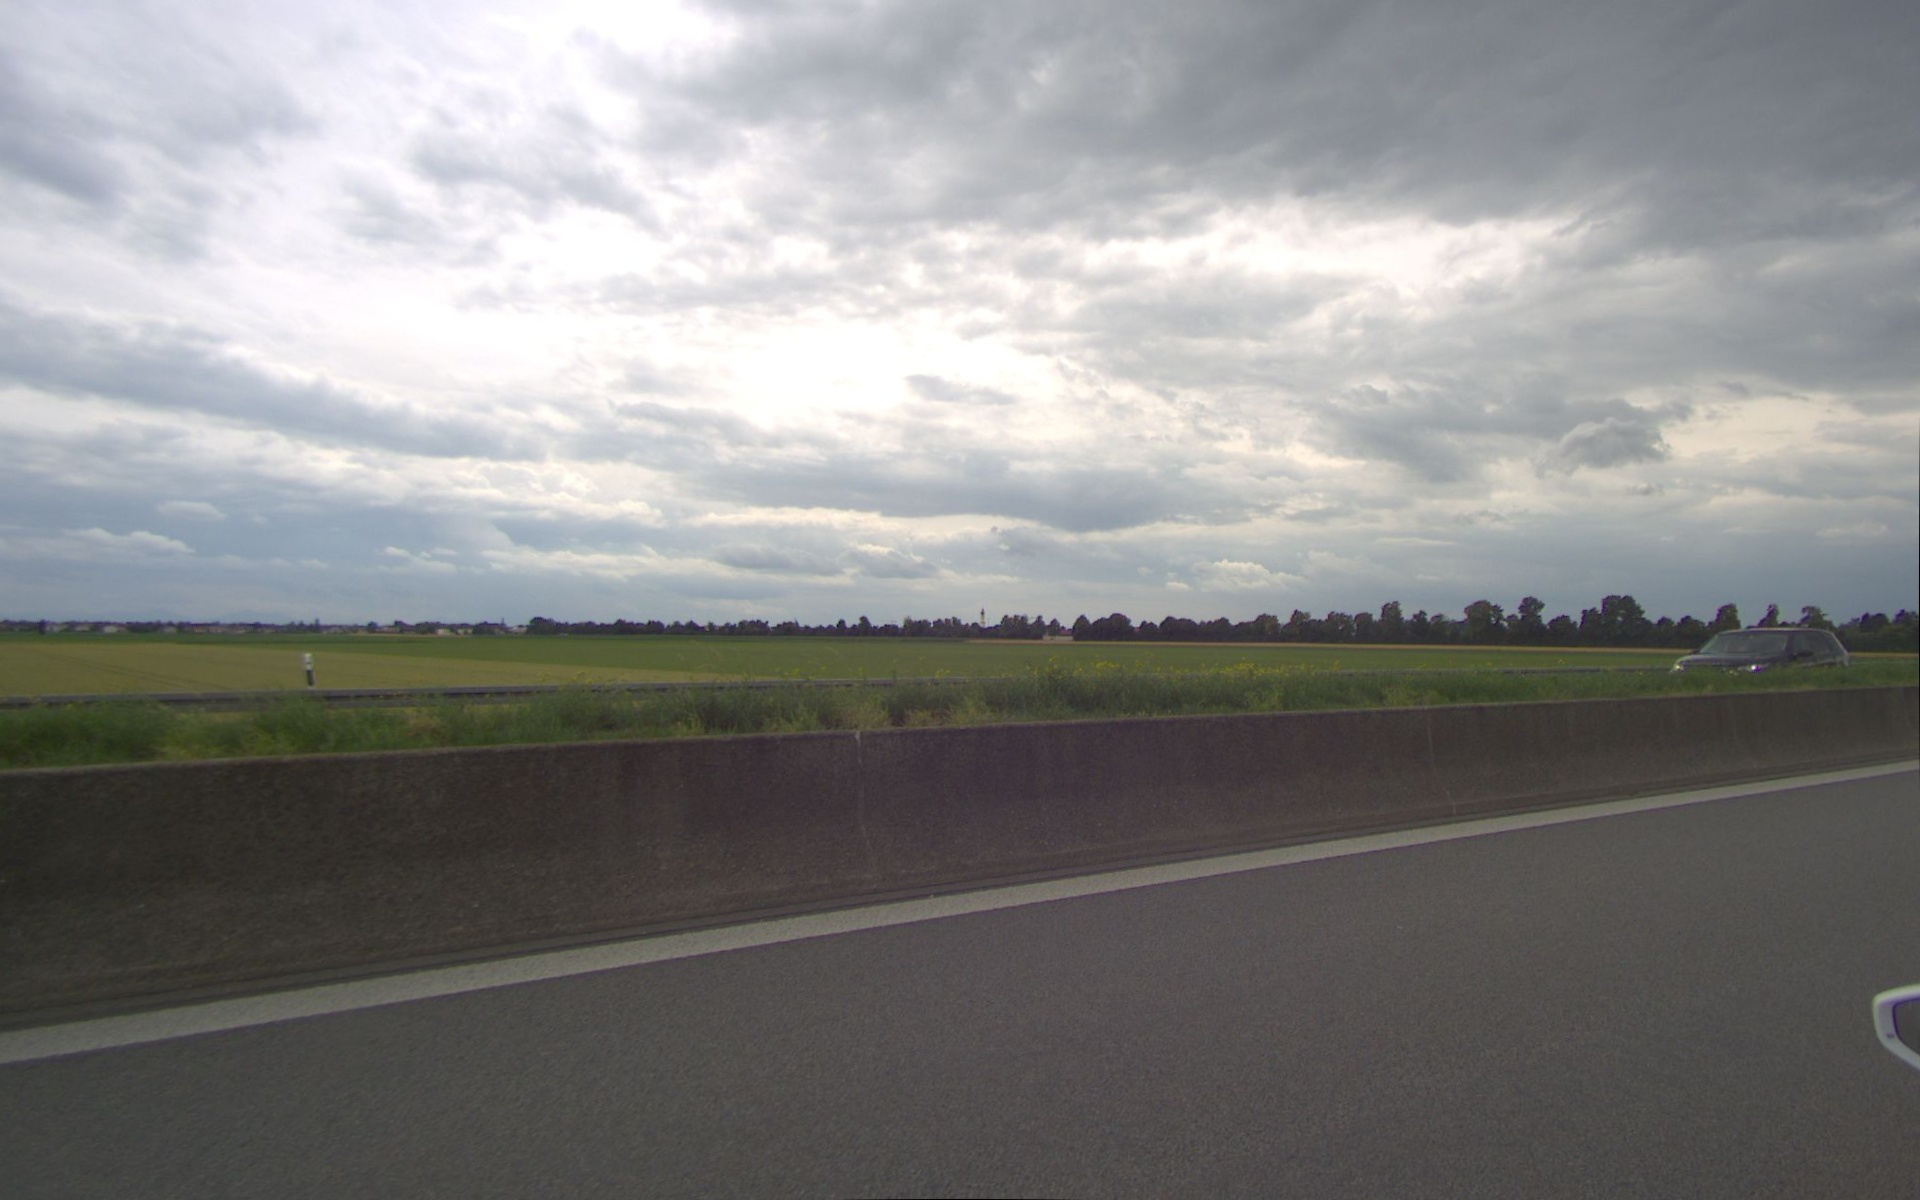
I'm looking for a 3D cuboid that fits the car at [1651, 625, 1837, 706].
[{"bbox_3d":[16.225,1.307,20.746,4.135,1.511,1.680,2,-1,-31],"label":"car"}]
